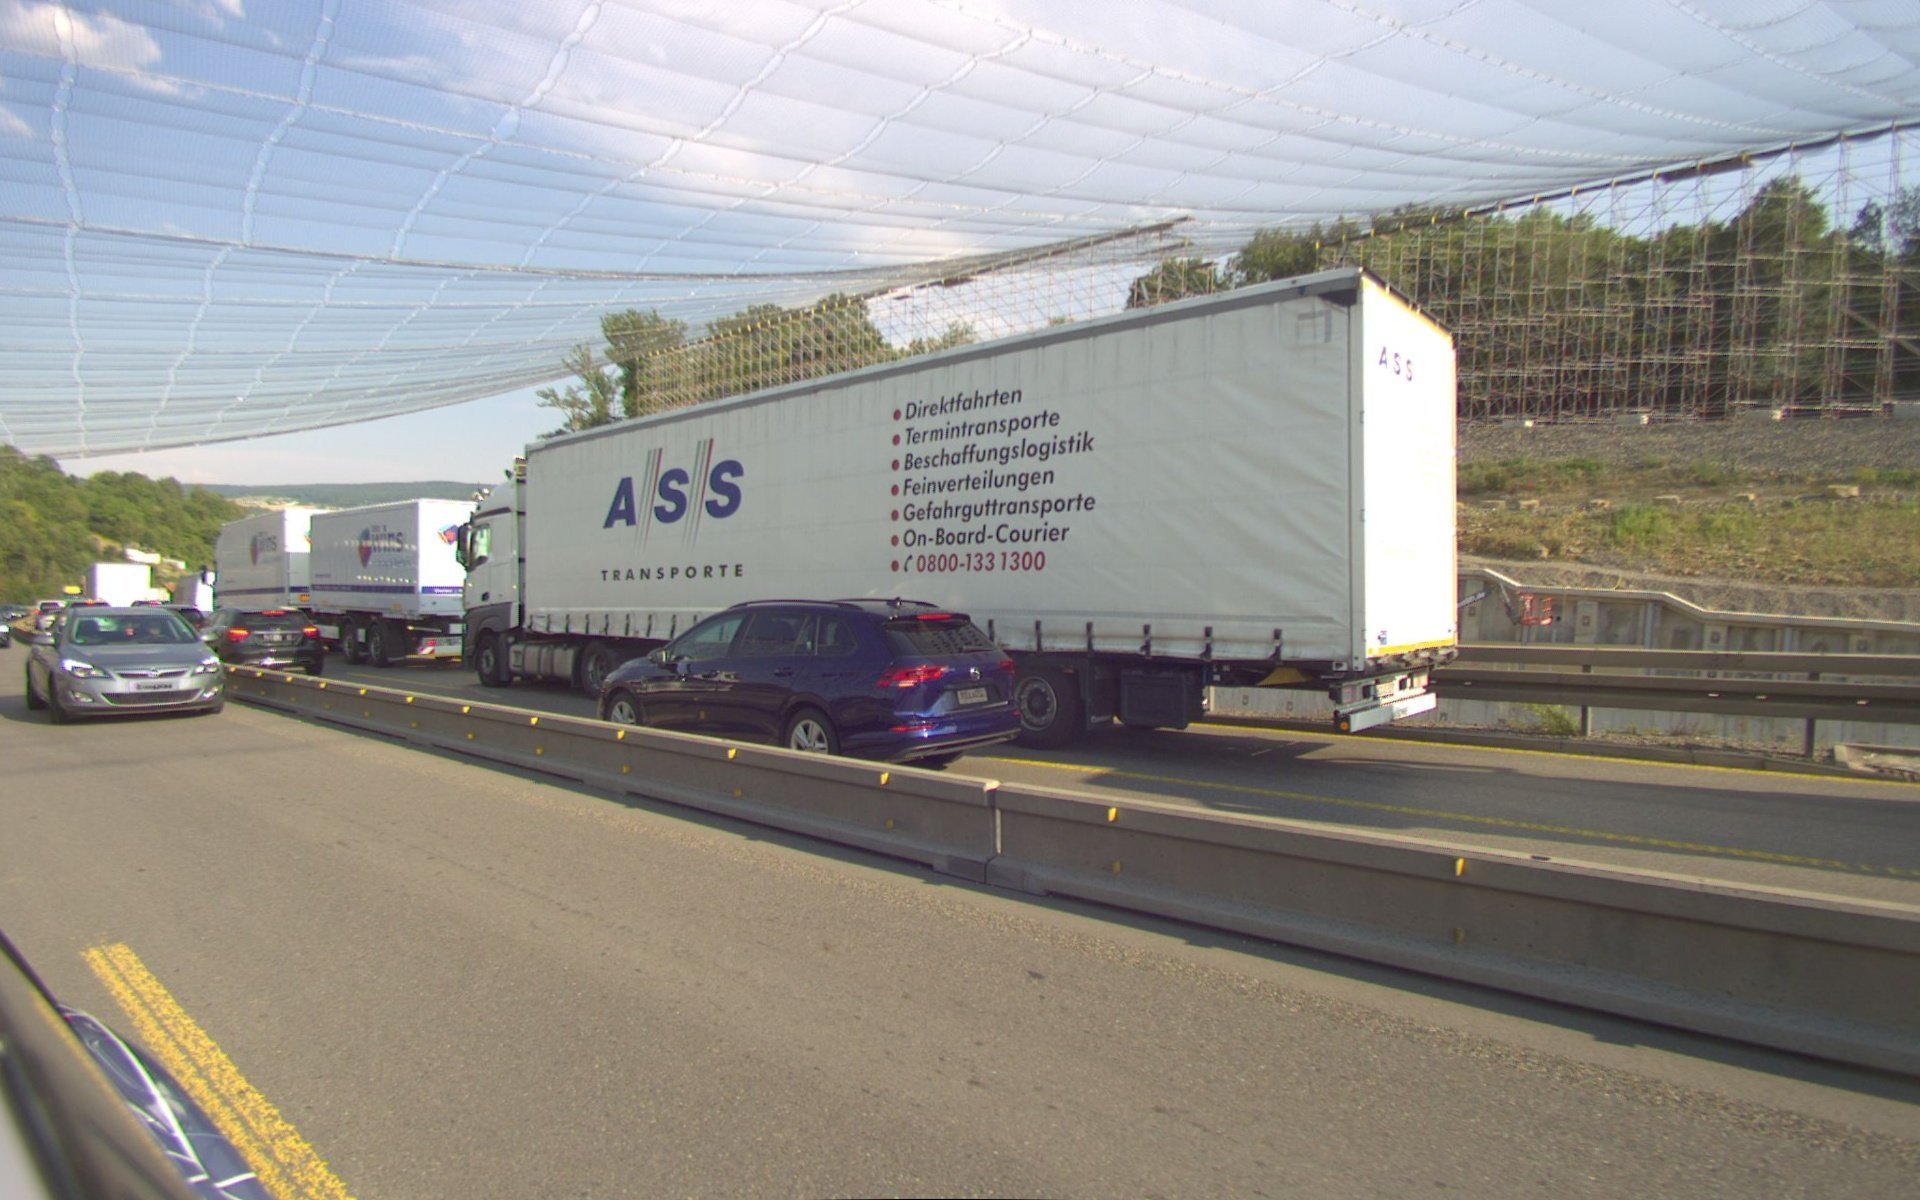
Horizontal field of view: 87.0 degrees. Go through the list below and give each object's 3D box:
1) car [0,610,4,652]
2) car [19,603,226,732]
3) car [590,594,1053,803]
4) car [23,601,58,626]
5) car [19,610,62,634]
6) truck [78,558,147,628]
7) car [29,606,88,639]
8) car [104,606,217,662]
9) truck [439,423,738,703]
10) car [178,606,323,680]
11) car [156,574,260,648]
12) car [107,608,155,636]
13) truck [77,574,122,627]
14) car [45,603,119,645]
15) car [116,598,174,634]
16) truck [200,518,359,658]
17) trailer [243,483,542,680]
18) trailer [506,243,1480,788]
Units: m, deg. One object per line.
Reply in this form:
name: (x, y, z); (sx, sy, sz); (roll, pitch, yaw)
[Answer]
car: (-34.310, 1.067, 34.956); (3.824, 1.394, 1.740); (0, 0, 44)
car: (-11.609, 0.802, 13.914); (4.354, 1.484, 1.736); (0, 0, 44)
car: (-1.404, 0.671, 8.950); (4.243, 1.408, 1.774); (0, 0, 43)
car: (-70.871, 1.027, 77.983); (1.787, 1.883, 5.285); (0, 0, -44)
car: (-57.762, 1.344, 63.550); (1.787, 1.430, 4.520); (0, 0, -45)
truck: (-56.660, -0.424, 67.494); (2.689, 4.259, 14.181); (0, 0, -43)
car: (-45.748, 1.110, 51.326); (4.365, 1.580, 1.789); (0, 0, 43)
car: (-22.825, 0.902, 28.835); (4.662, 1.461, 1.759); (0, 0, 42)
truck: (-6.556, -0.533, 17.490); (5.614, 4.076, 2.448); (0, 0, 41)
car: (-14.706, 0.821, 20.906); (3.899, 1.386, 1.590); (0, 0, 41)
car: (-30.209, 0.419, 40.555); (7.084, 2.733, 2.216); (0, 0, 44)
car: (-48.737, 1.267, 59.470); (1.771, 1.552, 4.913); (0, 0, -44)
truck: (-80.131, 0.073, 94.068); (2.950, 4.593, 17.431); (0, 0, -41)
car: (-35.277, 0.924, 40.620); (4.365, 1.580, 1.789); (0, 0, 43)
car: (-41.649, 0.796, 51.667); (1.803, 1.740, 4.940); (0, 0, -45)
truck: (-21.580, -0.324, 31.913); (7.205, 3.939, 2.602); (0, 0, 43)
trailer: (-15.250, -0.361, 26.271); (13.330, 4.046, 2.641); (0, 0, 42)
trailer: (-1.353, -0.592, 12.954); (14.090, 3.993, 2.402); (0, 0, 41)
